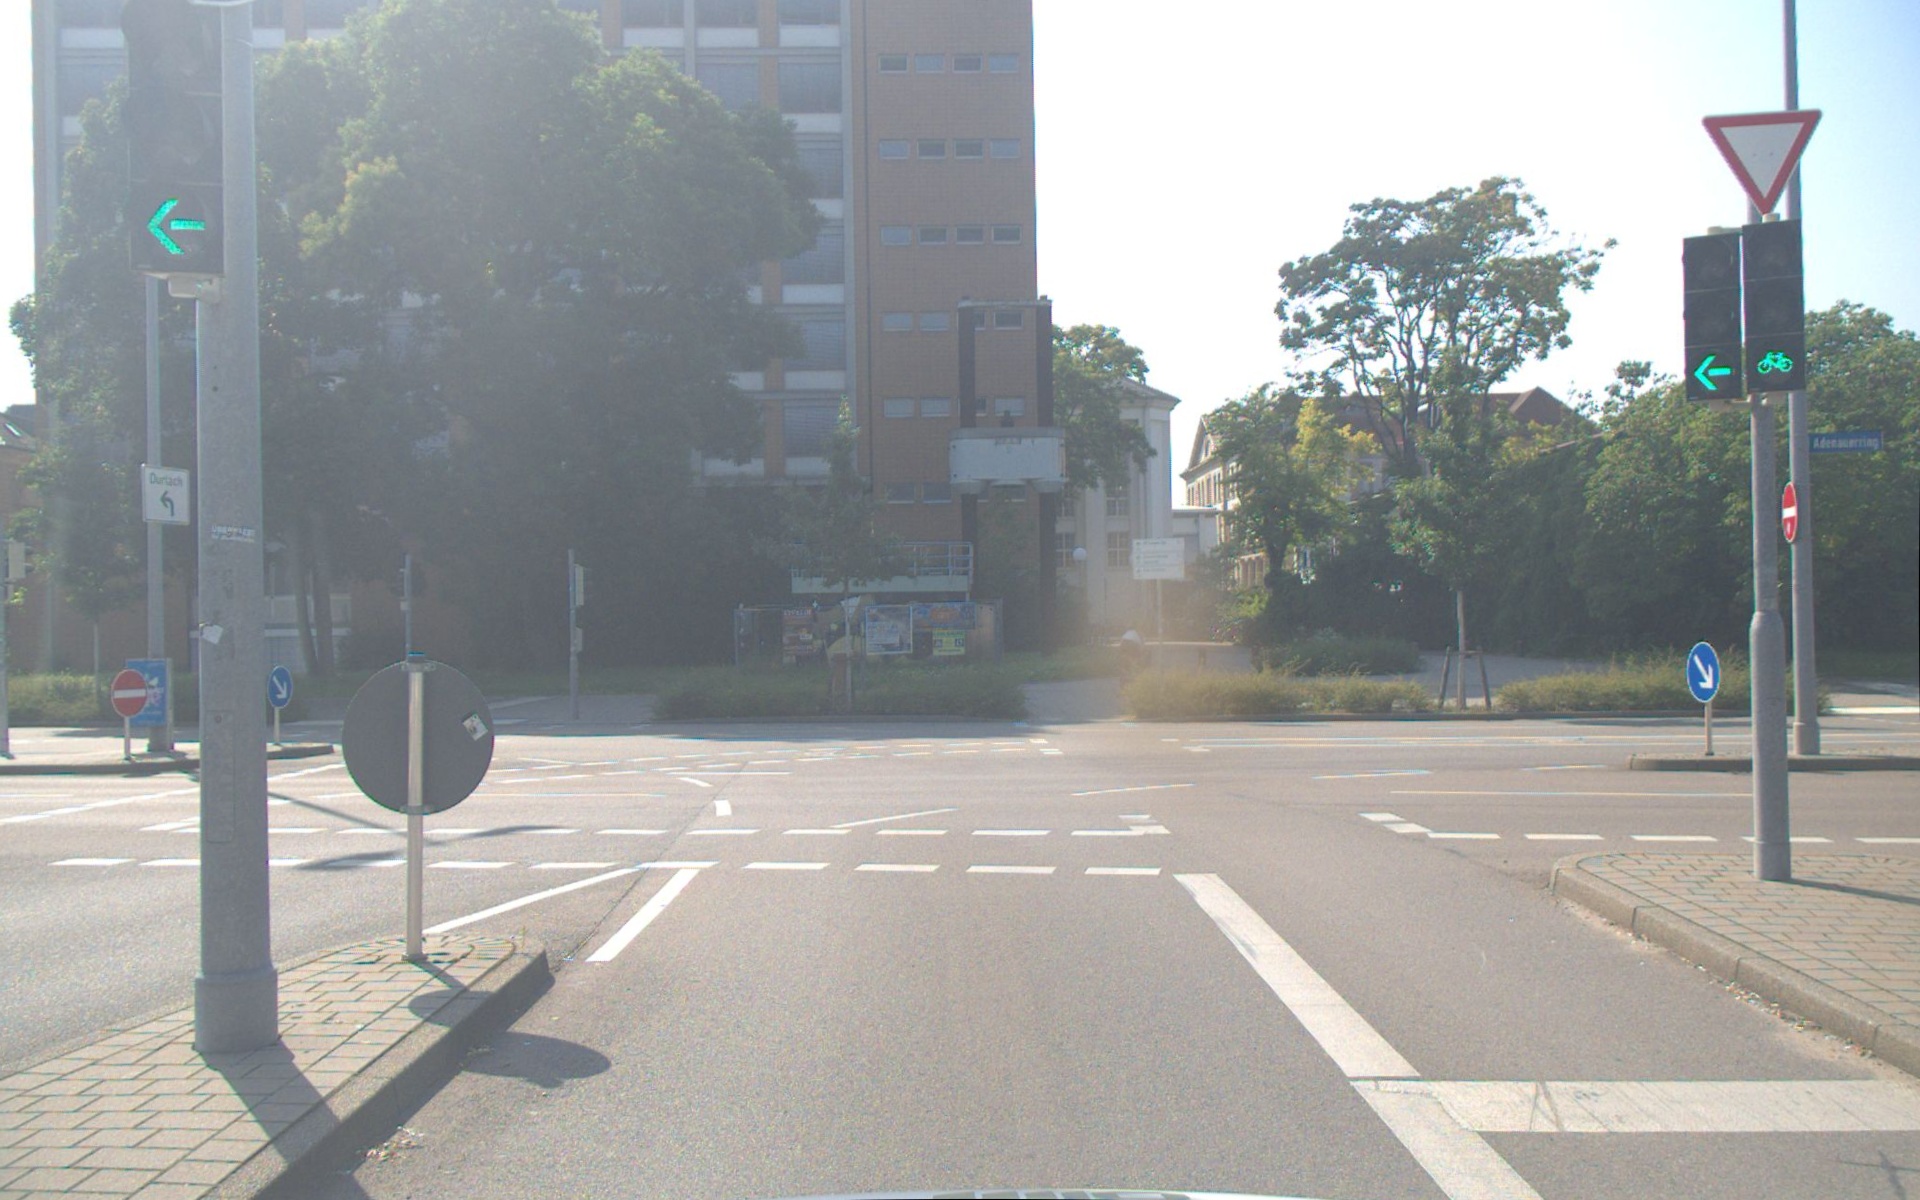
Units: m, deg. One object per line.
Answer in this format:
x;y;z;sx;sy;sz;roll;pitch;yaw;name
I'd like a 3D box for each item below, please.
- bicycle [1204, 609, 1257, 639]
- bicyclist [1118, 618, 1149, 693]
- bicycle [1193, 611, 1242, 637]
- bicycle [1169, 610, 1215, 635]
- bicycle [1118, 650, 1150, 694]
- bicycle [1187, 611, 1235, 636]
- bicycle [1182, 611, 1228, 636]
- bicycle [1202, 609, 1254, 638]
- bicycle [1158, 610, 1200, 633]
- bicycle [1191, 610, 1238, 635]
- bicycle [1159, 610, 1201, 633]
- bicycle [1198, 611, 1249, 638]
12.606;1.109;77.097;2.376;1.341;0.720;1;-1;4;bicycle
3.867;1.215;36.795;0.636;1.629;0.920;-1;-1;7;bicyclist
13.068;1.216;83.988;2.376;1.256;0.720;1;-1;4;bicycle
12.422;1.228;88.680;2.376;1.304;0.720;1;-1;4;bicycle
3.859;1.584;36.670;0.659;0.895;1.402;-1;-1;7;bicycle
12.854;1.218;84.845;2.376;1.261;0.720;1;-1;4;bicycle
12.947;1.230;87.473;2.376;1.304;0.720;1;-1;4;bicycle
12.664;1.103;78.232;2.376;1.341;0.720;1;-1;4;bicycle
12.775;1.228;96.490;2.376;1.303;0.720;1;-1;4;bicycle
13.210;1.174;85.877;2.376;1.250;0.720;1;-1;4;bicycle
12.705;1.228;95.640;2.376;1.285;0.720;1;-1;4;bicycle
12.851;1.195;80.769;2.376;1.245;0.720;1;-1;4;bicycle
